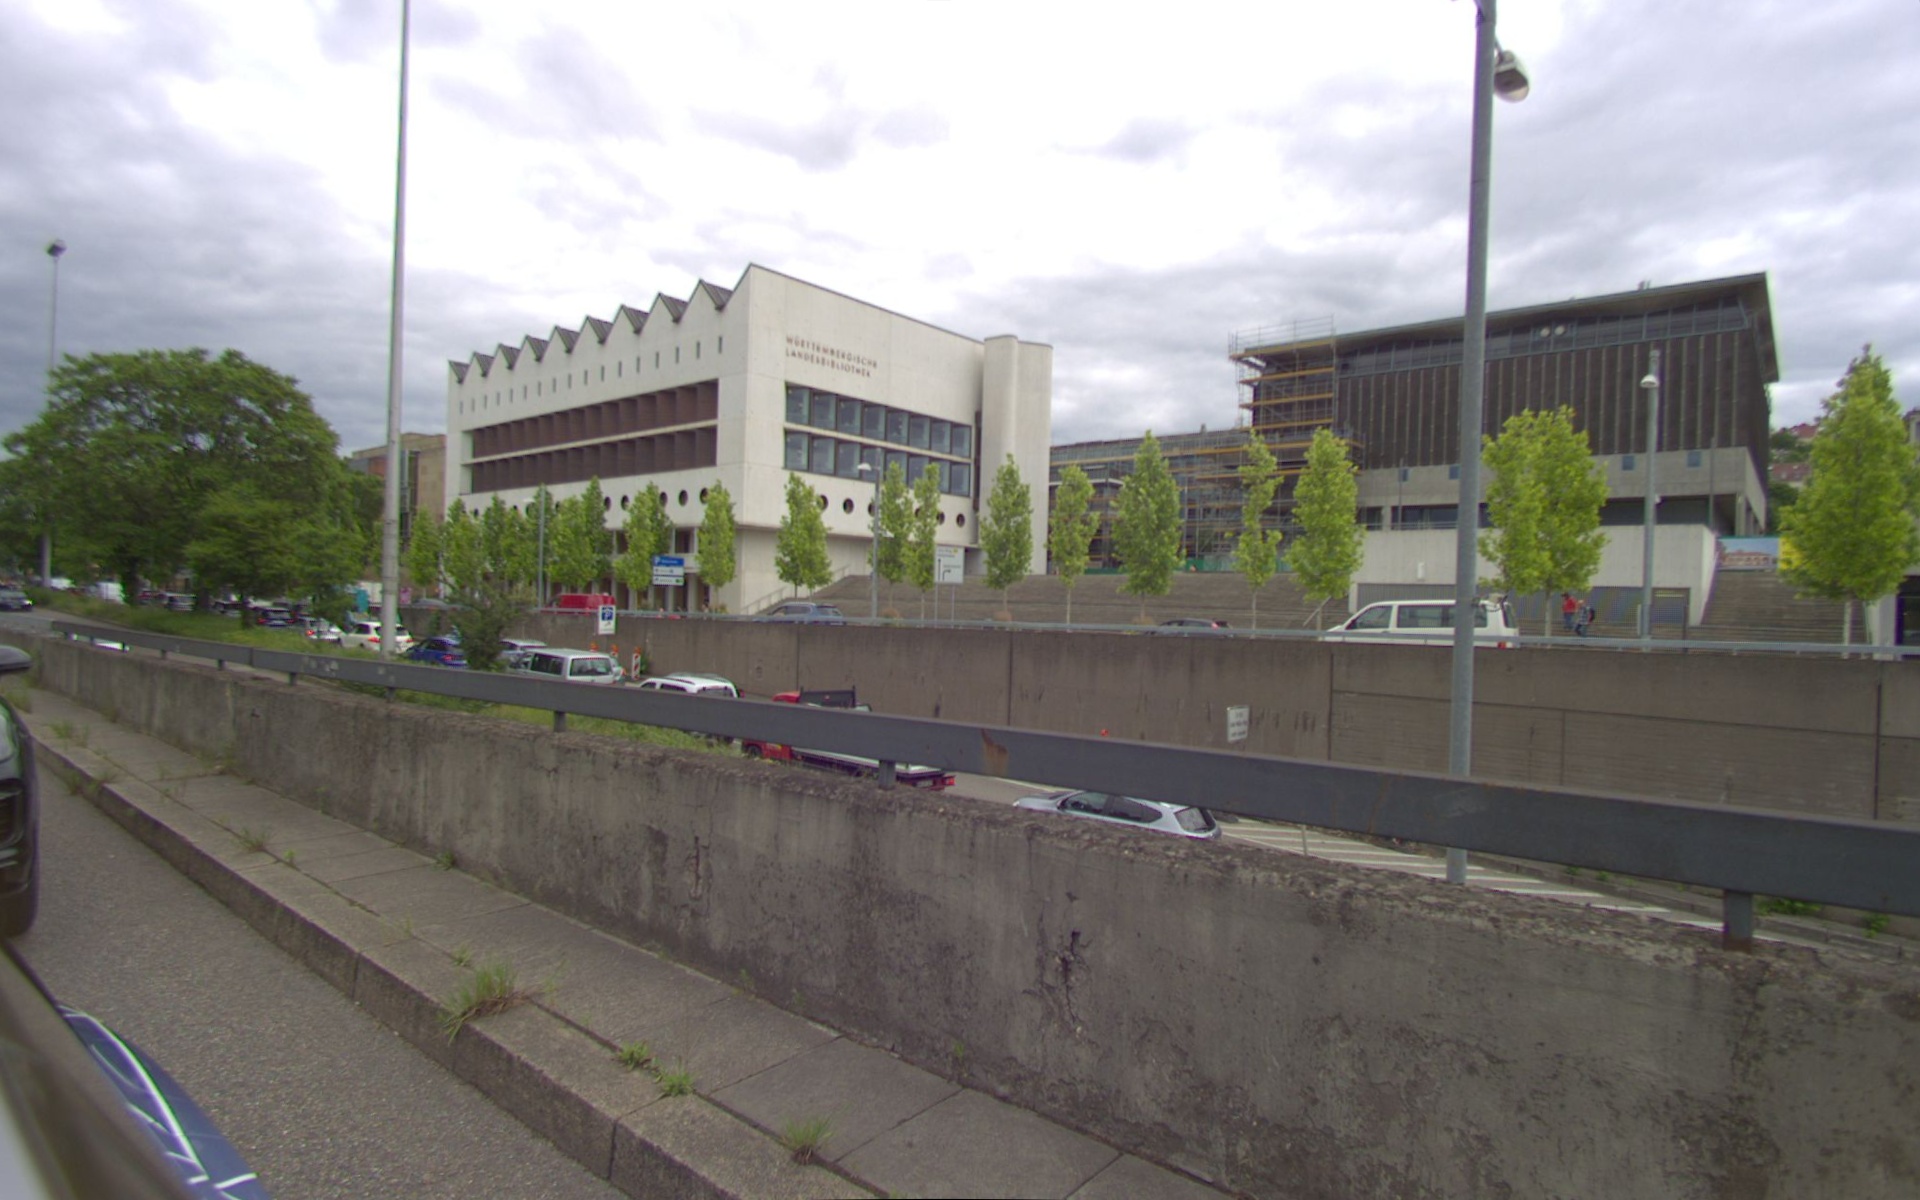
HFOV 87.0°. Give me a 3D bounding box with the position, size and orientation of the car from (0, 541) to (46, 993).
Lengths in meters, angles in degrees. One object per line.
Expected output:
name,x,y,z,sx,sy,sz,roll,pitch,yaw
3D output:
car,-5.885,0.651,4.708,4.677,1.690,1.912,-1,-1,41

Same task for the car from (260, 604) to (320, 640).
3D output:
car,-40.907,1.359,61.779,3.998,2.029,1.972,-1,-4,41

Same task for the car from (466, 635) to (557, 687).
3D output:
car,-19.123,2.587,43.104,3.998,2.029,1.972,-1,-4,41

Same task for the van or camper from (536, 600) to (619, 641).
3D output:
van or camper,-19.632,1.047,51.831,4.552,2.029,1.974,-1,-1,39

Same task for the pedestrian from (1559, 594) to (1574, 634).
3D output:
pedestrian,23.927,0.548,39.936,0.461,1.533,0.377,0,0,35

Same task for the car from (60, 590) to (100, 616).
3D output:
car,-74.155,0.229,85.242,3.998,2.028,1.973,-1,2,41

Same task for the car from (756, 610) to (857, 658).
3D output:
car,-6.266,1.352,41.082,3.998,1.829,1.973,-1,-1,41

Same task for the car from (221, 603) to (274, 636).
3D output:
car,-48.142,1.328,68.371,3.998,2.029,1.972,-1,-4,41

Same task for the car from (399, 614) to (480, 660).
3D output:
car,-24.585,1.741,47.784,3.998,2.029,1.972,-1,-4,41

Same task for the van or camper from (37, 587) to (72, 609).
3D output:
van or camper,-85.779,-0.157,95.846,3.998,2.029,2.010,-1,-1,41

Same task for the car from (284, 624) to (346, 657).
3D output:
car,-31.334,1.920,49.167,3.360,1.497,1.653,0,-1,41

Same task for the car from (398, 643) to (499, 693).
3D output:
car,-19.914,2.609,39.322,4.279,1.757,1.972,-1,-4,41

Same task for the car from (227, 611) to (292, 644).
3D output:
car,-37.377,1.436,53.984,3.998,1.672,1.973,-1,-1,41

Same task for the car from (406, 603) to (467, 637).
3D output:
car,-32.474,1.210,62.791,3.997,2.029,1.974,0,0,40

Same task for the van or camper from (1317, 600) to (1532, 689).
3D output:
van or camper,11.626,1.073,25.521,4.555,2.029,1.973,-1,-1,41

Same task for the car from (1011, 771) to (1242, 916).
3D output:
car,3.044,4.420,18.965,3.925,1.829,1.771,-1,-1,41

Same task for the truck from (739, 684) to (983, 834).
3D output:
truck,-2.478,3.525,23.831,5.977,2.711,2.294,-1,-1,42

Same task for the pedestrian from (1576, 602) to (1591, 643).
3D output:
pedestrian,23.785,0.863,38.609,0.461,1.533,0.377,0,0,35

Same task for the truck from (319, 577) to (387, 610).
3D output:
truck,-42.292,-0.438,70.441,5.607,2.174,1.979,-1,-1,35

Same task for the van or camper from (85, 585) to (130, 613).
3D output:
van or camper,-64.369,-0.059,76.404,3.998,2.029,2.010,-1,-1,41

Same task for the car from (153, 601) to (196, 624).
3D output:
car,-51.791,0.825,66.731,3.360,1.497,1.653,-1,-1,41

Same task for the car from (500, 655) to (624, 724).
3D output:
car,-13.230,2.908,33.534,4.331,2.029,1.972,-1,-4,41

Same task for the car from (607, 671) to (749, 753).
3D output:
car,-8.107,3.134,28.945,3.998,2.029,1.972,-1,-4,41

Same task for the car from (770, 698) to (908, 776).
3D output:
car,-3.617,3.985,30.019,3.863,1.829,1.973,0,-2,41

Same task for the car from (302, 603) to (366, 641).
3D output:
car,-35.962,1.293,58.100,3.998,2.029,1.972,-1,-4,41

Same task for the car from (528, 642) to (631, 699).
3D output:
car,-14.674,2.680,38.946,3.998,2.029,1.972,-1,-4,41

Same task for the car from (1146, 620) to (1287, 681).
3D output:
car,8.292,1.593,32.914,3.998,1.829,1.973,-1,-1,41

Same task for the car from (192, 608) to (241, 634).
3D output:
car,-43.111,1.212,58.672,3.360,1.497,1.653,-1,-1,41

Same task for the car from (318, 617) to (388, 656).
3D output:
car,-33.215,1.968,55.290,4.653,2.029,1.973,-1,-1,41

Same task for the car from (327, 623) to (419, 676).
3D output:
car,-25.938,2.159,44.644,4.850,2.148,1.972,-1,-4,41

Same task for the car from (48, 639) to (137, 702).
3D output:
car,-32.289,2.559,37.656,3.998,2.029,1.973,0,0,41
